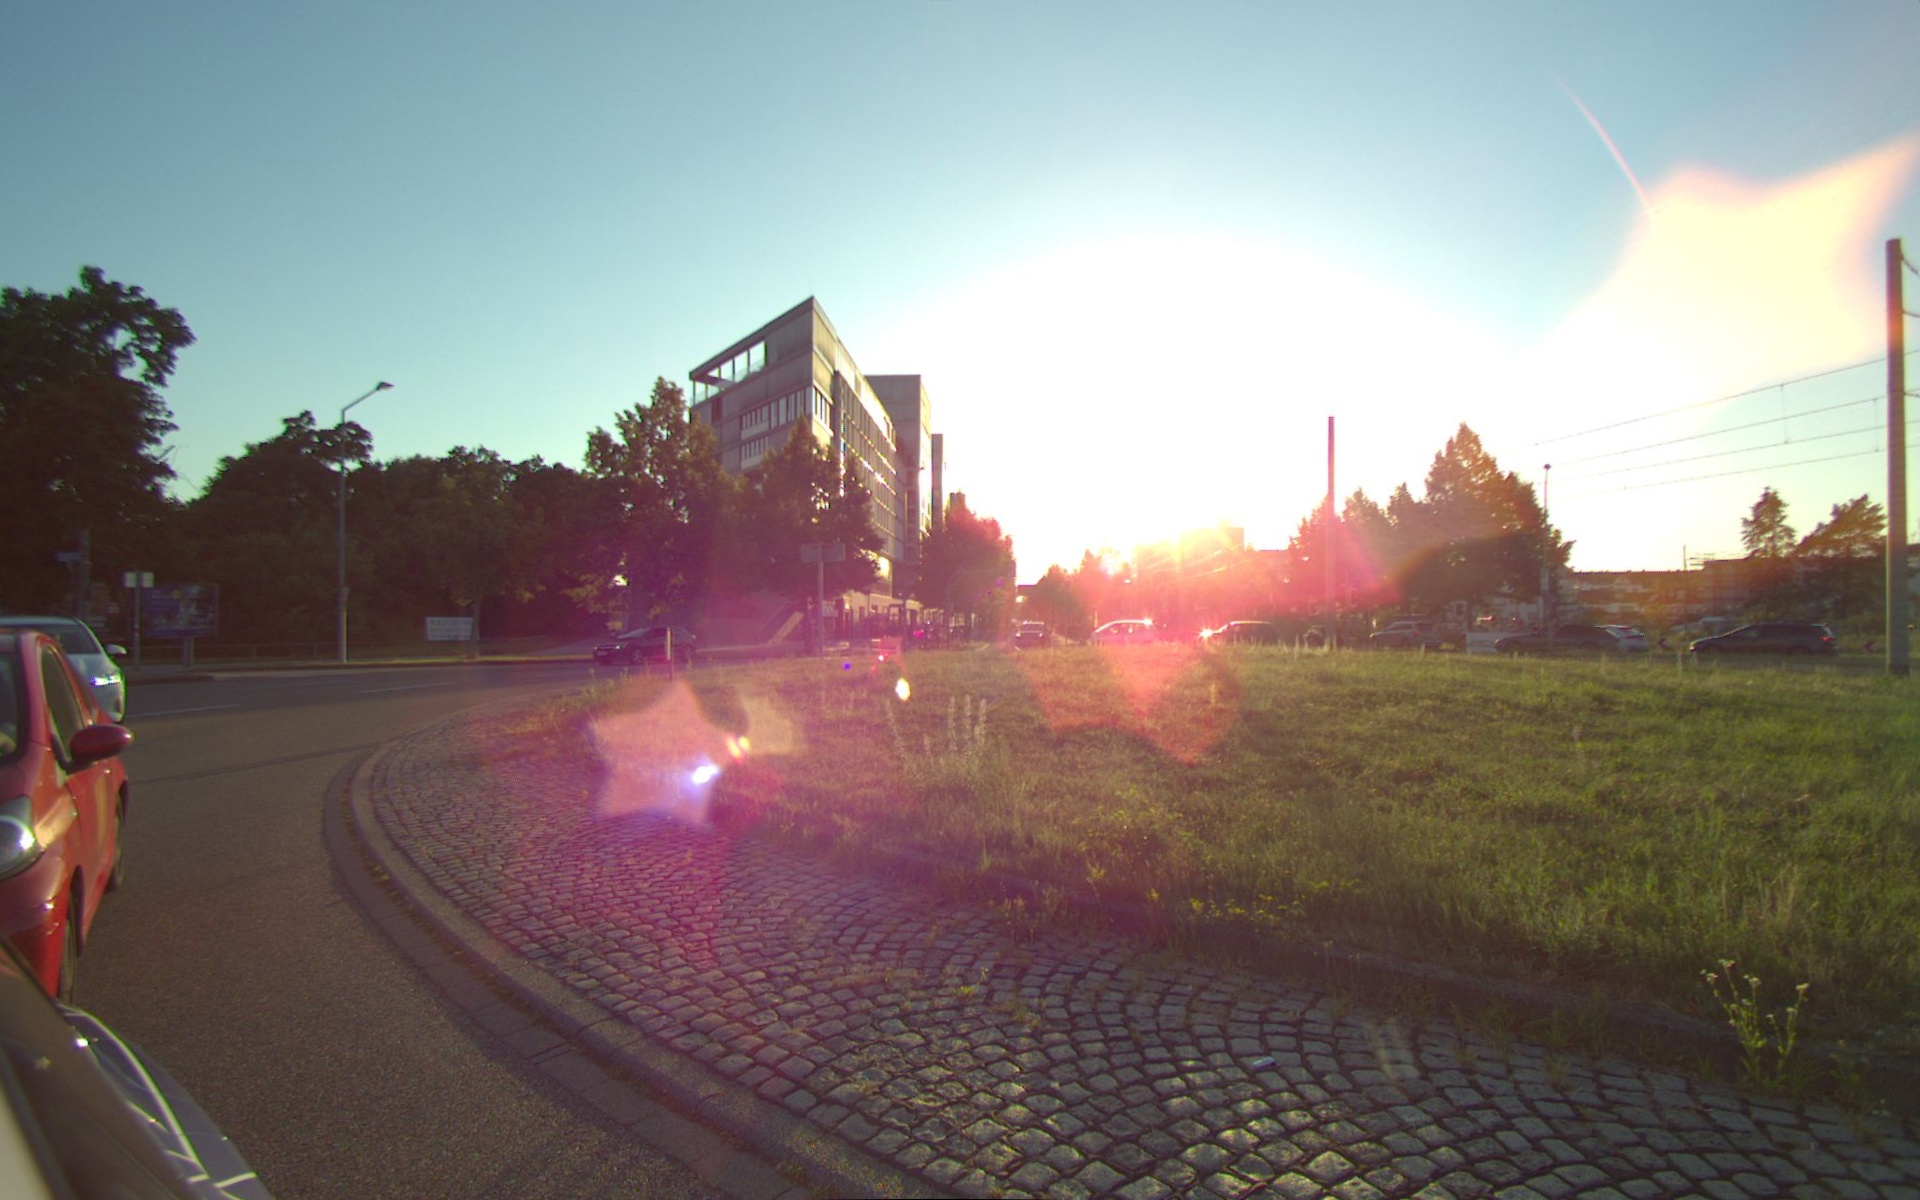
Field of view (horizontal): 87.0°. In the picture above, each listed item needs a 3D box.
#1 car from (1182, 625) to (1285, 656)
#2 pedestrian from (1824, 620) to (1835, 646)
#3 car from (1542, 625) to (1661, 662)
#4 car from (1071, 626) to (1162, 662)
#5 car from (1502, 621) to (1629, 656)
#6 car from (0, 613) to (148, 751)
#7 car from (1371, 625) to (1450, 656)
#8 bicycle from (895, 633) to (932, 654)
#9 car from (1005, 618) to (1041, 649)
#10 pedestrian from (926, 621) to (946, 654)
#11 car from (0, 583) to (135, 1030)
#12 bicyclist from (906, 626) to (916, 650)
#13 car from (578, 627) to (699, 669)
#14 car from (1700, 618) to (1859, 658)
[{"bbox_3d":[12.928,1.900,48.040,4.326,1.386,1.998,0,-1,3],"label":"car"},{"bbox_3d":[45.541,1.731,52.989,0.397,1.318,0.423,-1,-2,41],"label":"pedestrian"},{"bbox_3d":[32.110,2.131,50.814,1.965,1.719,4.731,0,-1,-24],"label":"car"},{"bbox_3d":[7.343,2.047,47.702,3.831,1.592,1.958,0,-1,-7],"label":"car"},{"bbox_3d":[25.729,1.603,43.093,4.351,1.386,1.972,-1,-2,42],"label":"car"},{"bbox_3d":[-12.566,1.001,13.494,4.195,1.618,1.973,-1,-2,41],"label":"car"},{"bbox_3d":[26.011,2.302,58.559,1.966,1.685,4.012,0,-1,-17],"label":"car"},{"bbox_3d":[-2.889,2.684,62.955,2.315,1.254,0.742,0,-1,0],"label":"bicycle"},{"bbox_3d":[3.971,2.159,64.608,1.972,1.827,5.303,-1,-2,1],"label":"car"},{"bbox_3d":[-1.537,2.387,64.591,0.995,2.029,0.768,-1,0,29],"label":"pedestrian"},{"bbox_3d":[-4.806,0.691,4.449,1.662,1.431,4.008,1,-2,-37],"label":"car"},{"bbox_3d":[-3.070,2.360,62.977,0.602,1.451,0.692,0,-1,-2],"label":"bicyclist"},{"bbox_3d":[-11.722,1.715,37.133,1.746,1.389,4.079,-1,-1,33],"label":"car"},{"bbox_3d":[30.632,1.391,37.907,1.969,1.386,4.389,1,-2,-42],"label":"car"}]
